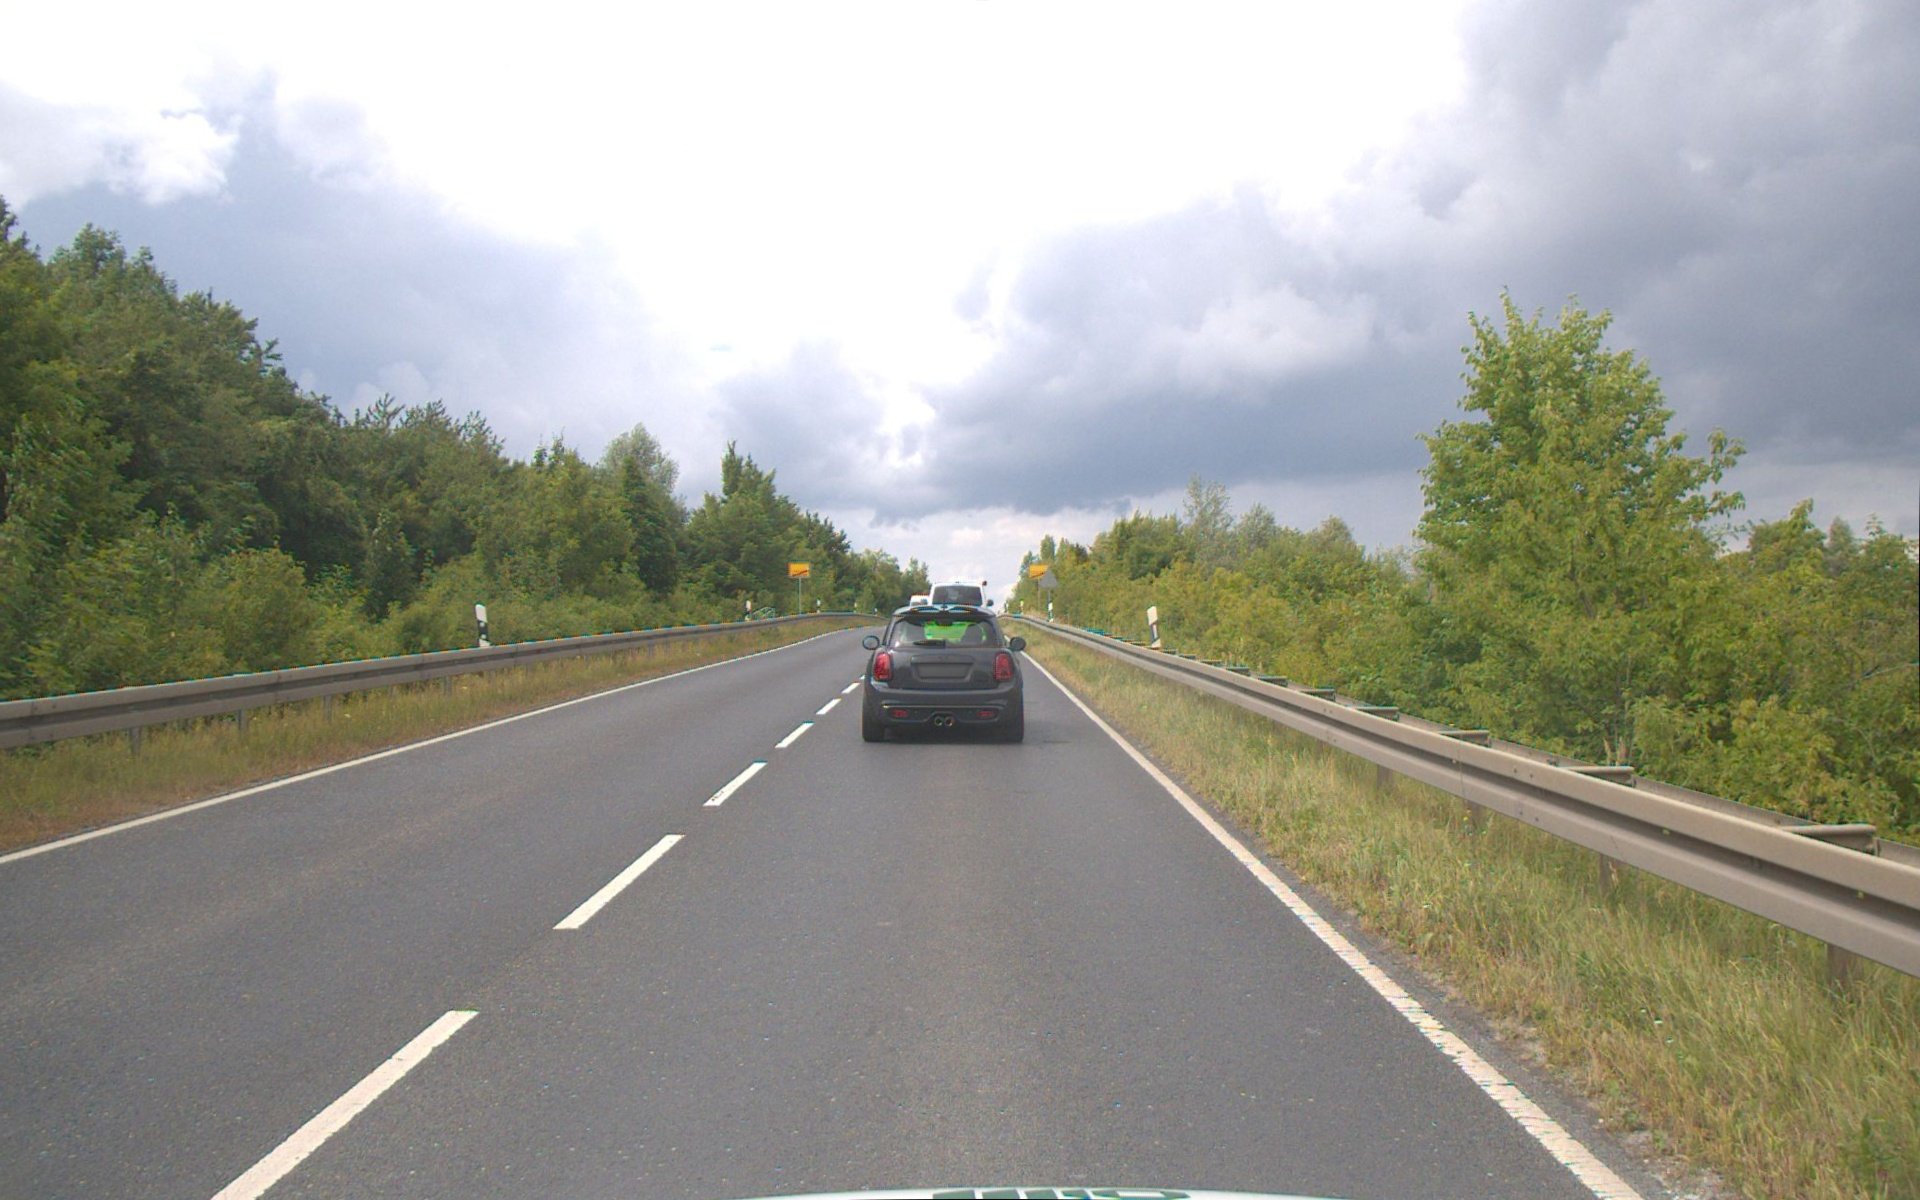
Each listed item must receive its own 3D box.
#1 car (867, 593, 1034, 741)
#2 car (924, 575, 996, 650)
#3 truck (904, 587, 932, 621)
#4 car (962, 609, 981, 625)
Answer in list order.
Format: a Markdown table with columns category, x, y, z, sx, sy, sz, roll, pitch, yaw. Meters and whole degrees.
| category | x | y | z | sx | sy | sz | roll | pitch | yaw |
| --- | --- | --- | --- | --- | --- | --- | --- | --- | --- |
| car | -0.171 | 0.672 | 18.801 | 1.697 | 1.481 | 3.998 | 0 | 0 | -2 |
| car | 0.011 | 0.360 | 48.244 | 1.981 | 2.048 | 4.000 | -1 | 0 | 0 |
| truck | -3.447 | 0.330 | 137.897 | 2.022 | 2.790 | 7.007 | 0 | 0 | 1 |
| car | 1.129 | 1.616 | 157.531 | 1.659 | 1.342 | 4.001 | -2 | 0 | 2 |
